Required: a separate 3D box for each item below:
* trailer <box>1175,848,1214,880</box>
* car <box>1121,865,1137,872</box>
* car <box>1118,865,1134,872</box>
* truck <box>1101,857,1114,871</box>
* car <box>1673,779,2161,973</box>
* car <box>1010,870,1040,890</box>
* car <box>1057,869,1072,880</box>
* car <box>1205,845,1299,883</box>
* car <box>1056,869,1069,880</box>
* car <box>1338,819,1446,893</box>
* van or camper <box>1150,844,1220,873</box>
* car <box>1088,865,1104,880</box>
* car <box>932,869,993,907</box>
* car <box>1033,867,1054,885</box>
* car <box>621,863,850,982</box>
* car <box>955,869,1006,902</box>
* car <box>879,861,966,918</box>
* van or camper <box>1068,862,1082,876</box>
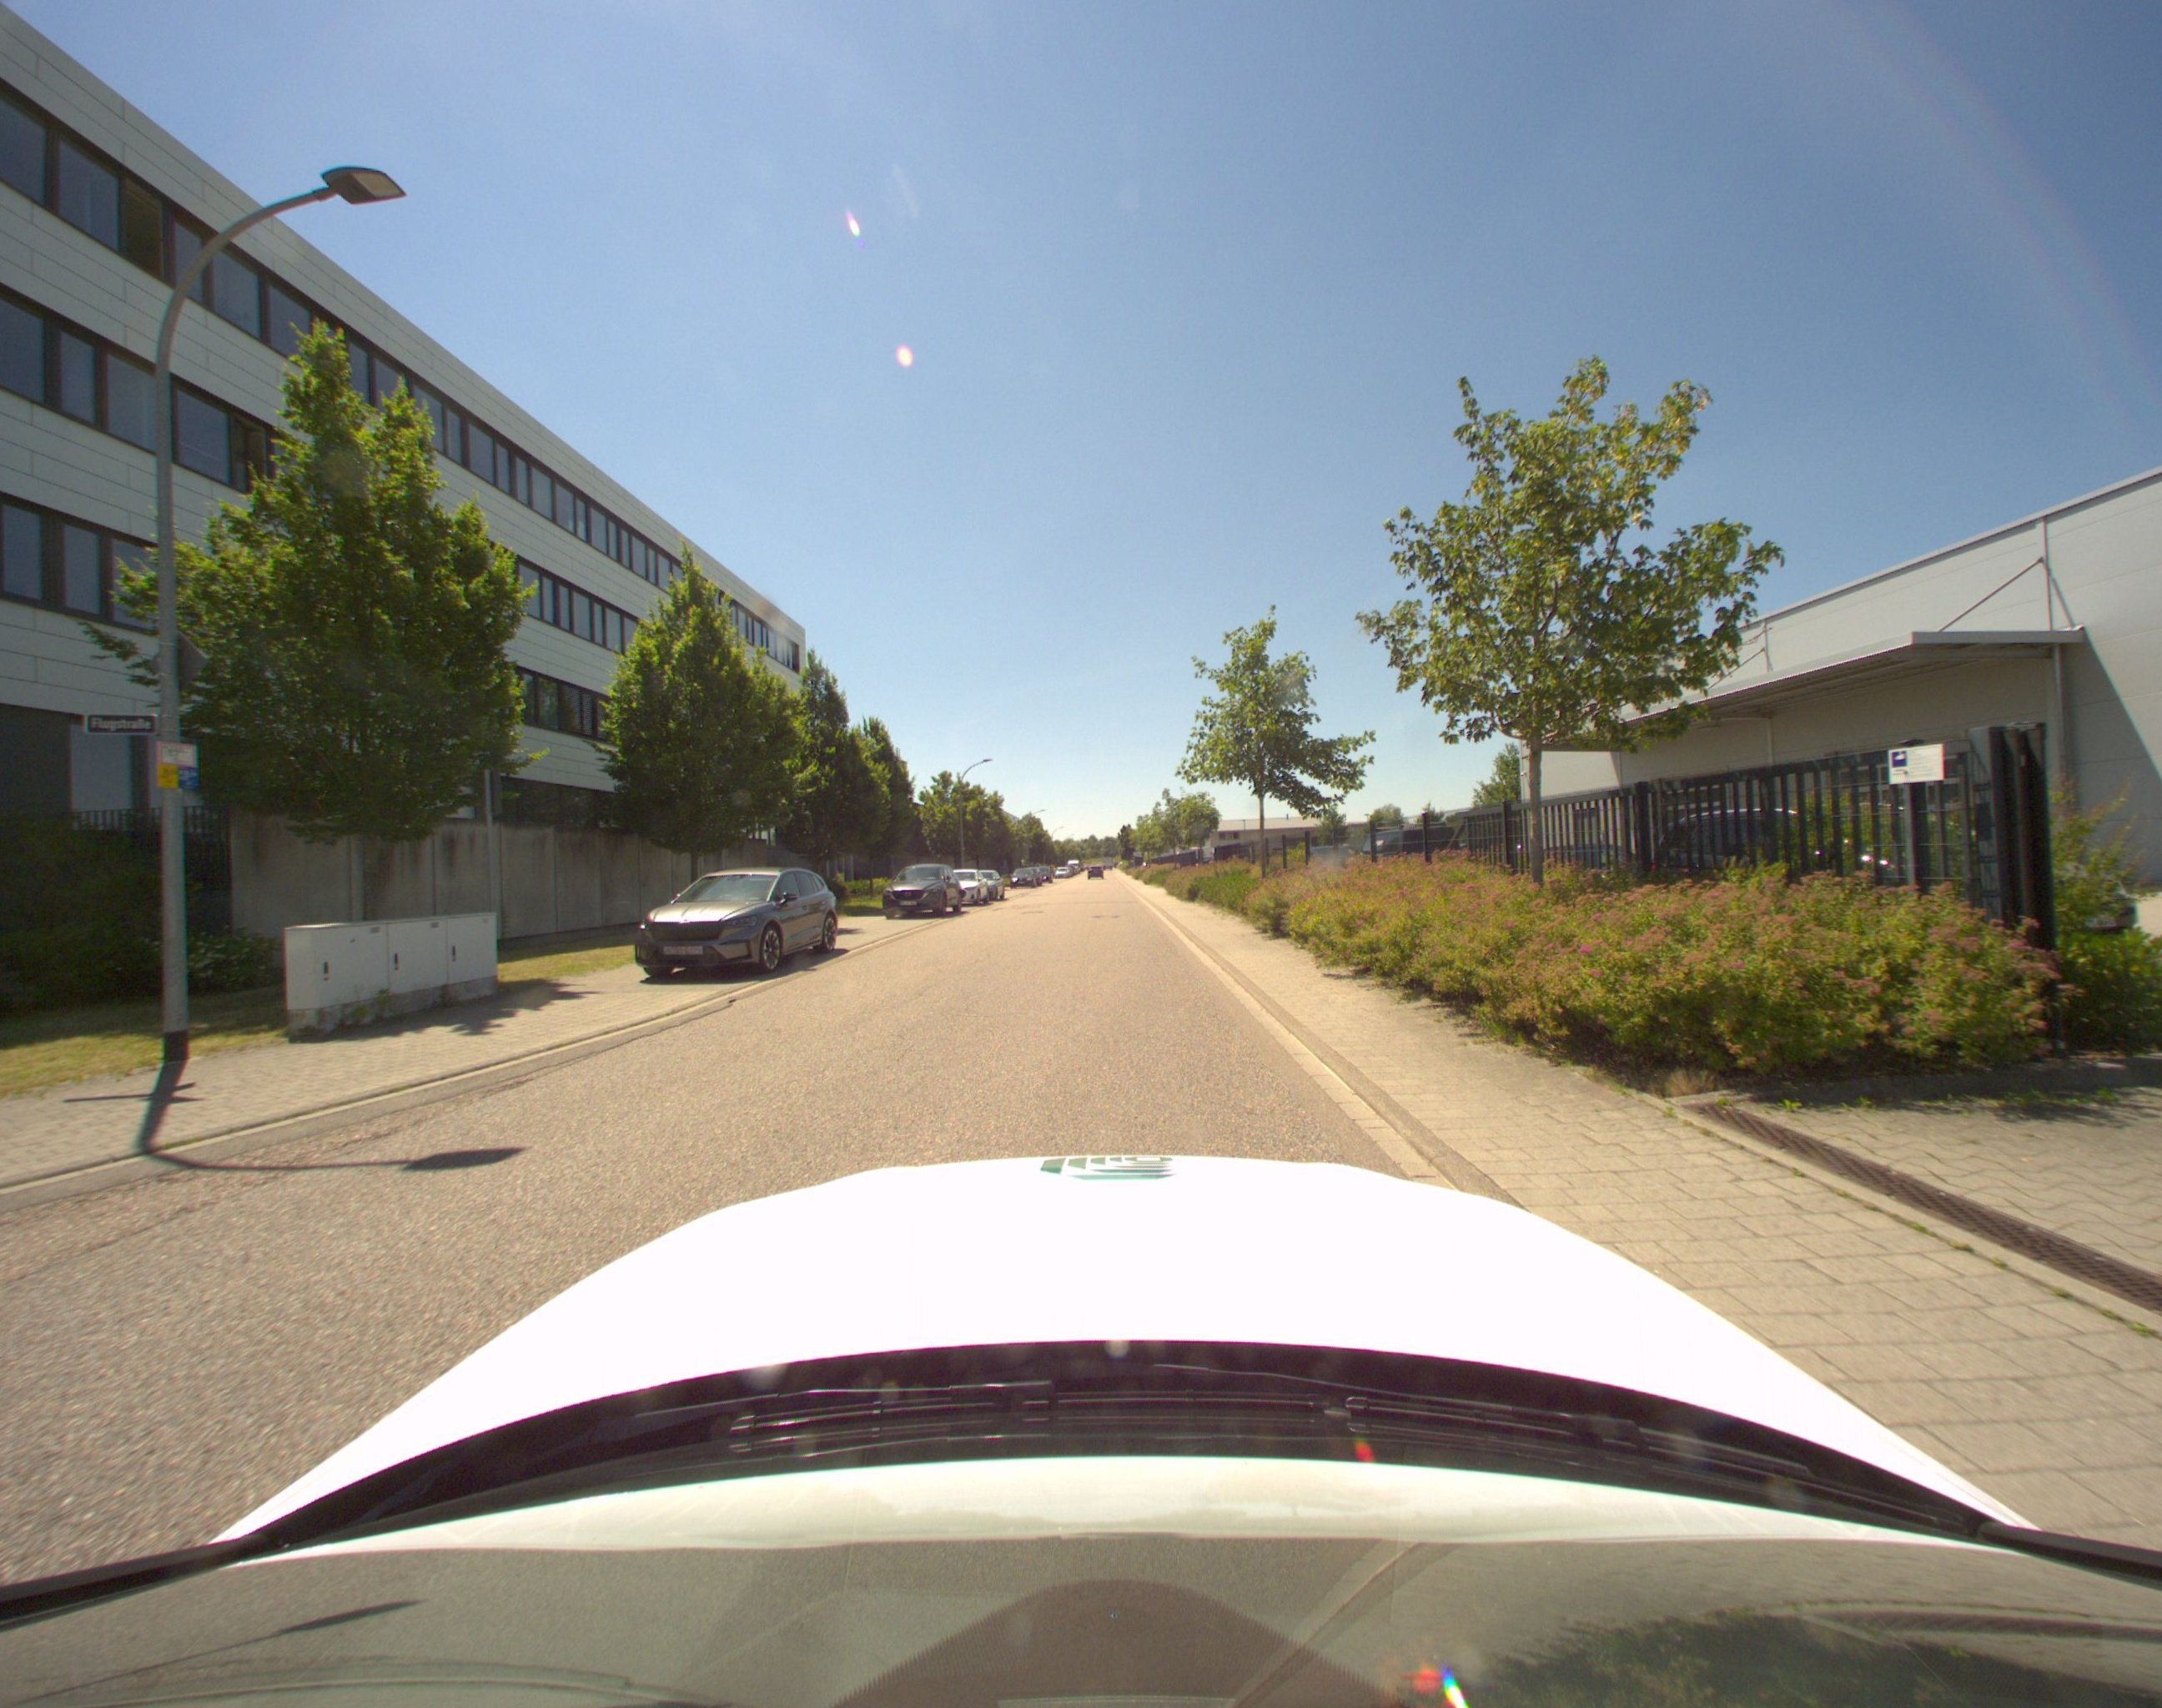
[{"bbox_3d":[9.423,0.834,67.713,2.816,2.403,1.418,-4,-1,-3],"label":"trailer"},{"bbox_3d":[11.716,3.527,199.040,3.864,1.750,1.751,0,-1,-1],"label":"car"},{"bbox_3d":[11.187,3.577,201.315,3.864,1.750,1.751,0,-1,-1],"label":"car"},{"bbox_3d":[6.016,2.293,183.731,2.921,2.974,6.421,0,-1,2],"label":"truck"},{"bbox_3d":[8.567,0.175,8.756,1.803,1.552,3.578,-4,0,2],"label":"car"},{"bbox_3d":[-4.180,1.934,61.113,1.764,1.431,4.202,-2,-1,1],"label":"car"},{"bbox_3d":[-2.333,2.900,116.683,1.792,1.476,4.556,-2,-1,2],"label":"car"},{"bbox_3d":[10.033,0.595,48.066,5.096,1.874,1.903,-4,-1,0],"label":"car"},{"bbox_3d":[-2.555,2.791,111.424,1.715,1.476,3.855,-2,-1,-1],"label":"car"},{"bbox_3d":[9.964,0.082,26.480,1.870,2.087,4.226,-4,-1,1],"label":"car"},{"bbox_3d":[10.672,0.501,84.050,6.734,2.585,2.636,-3,-1,0],"label":"van or camper"},{"bbox_3d":[1.734,2.082,93.019,1.783,1.623,3.810,0,-1,1],"label":"car"},{"bbox_3d":[-4.857,1.361,33.812,1.764,1.431,4.202,-2,-1,1],"label":"car"},{"bbox_3d":[-3.609,2.125,79.406,1.765,1.611,4.247,-2,-1,0],"label":"car"},{"bbox_3d":[-5.458,1.007,13.599,1.764,1.588,4.482,-2,-1,1],"label":"car"},{"bbox_3d":[-4.666,1.458,38.476,1.764,1.431,3.941,-2,-1,1],"label":"car"},{"bbox_3d":[-5.027,1.114,26.455,1.764,1.624,4.583,-2,-1,1],"label":"car"},{"bbox_3d":[-1.141,2.837,153.180,2.069,2.483,6.136,0,-1,4],"label":"van or camper"}]
